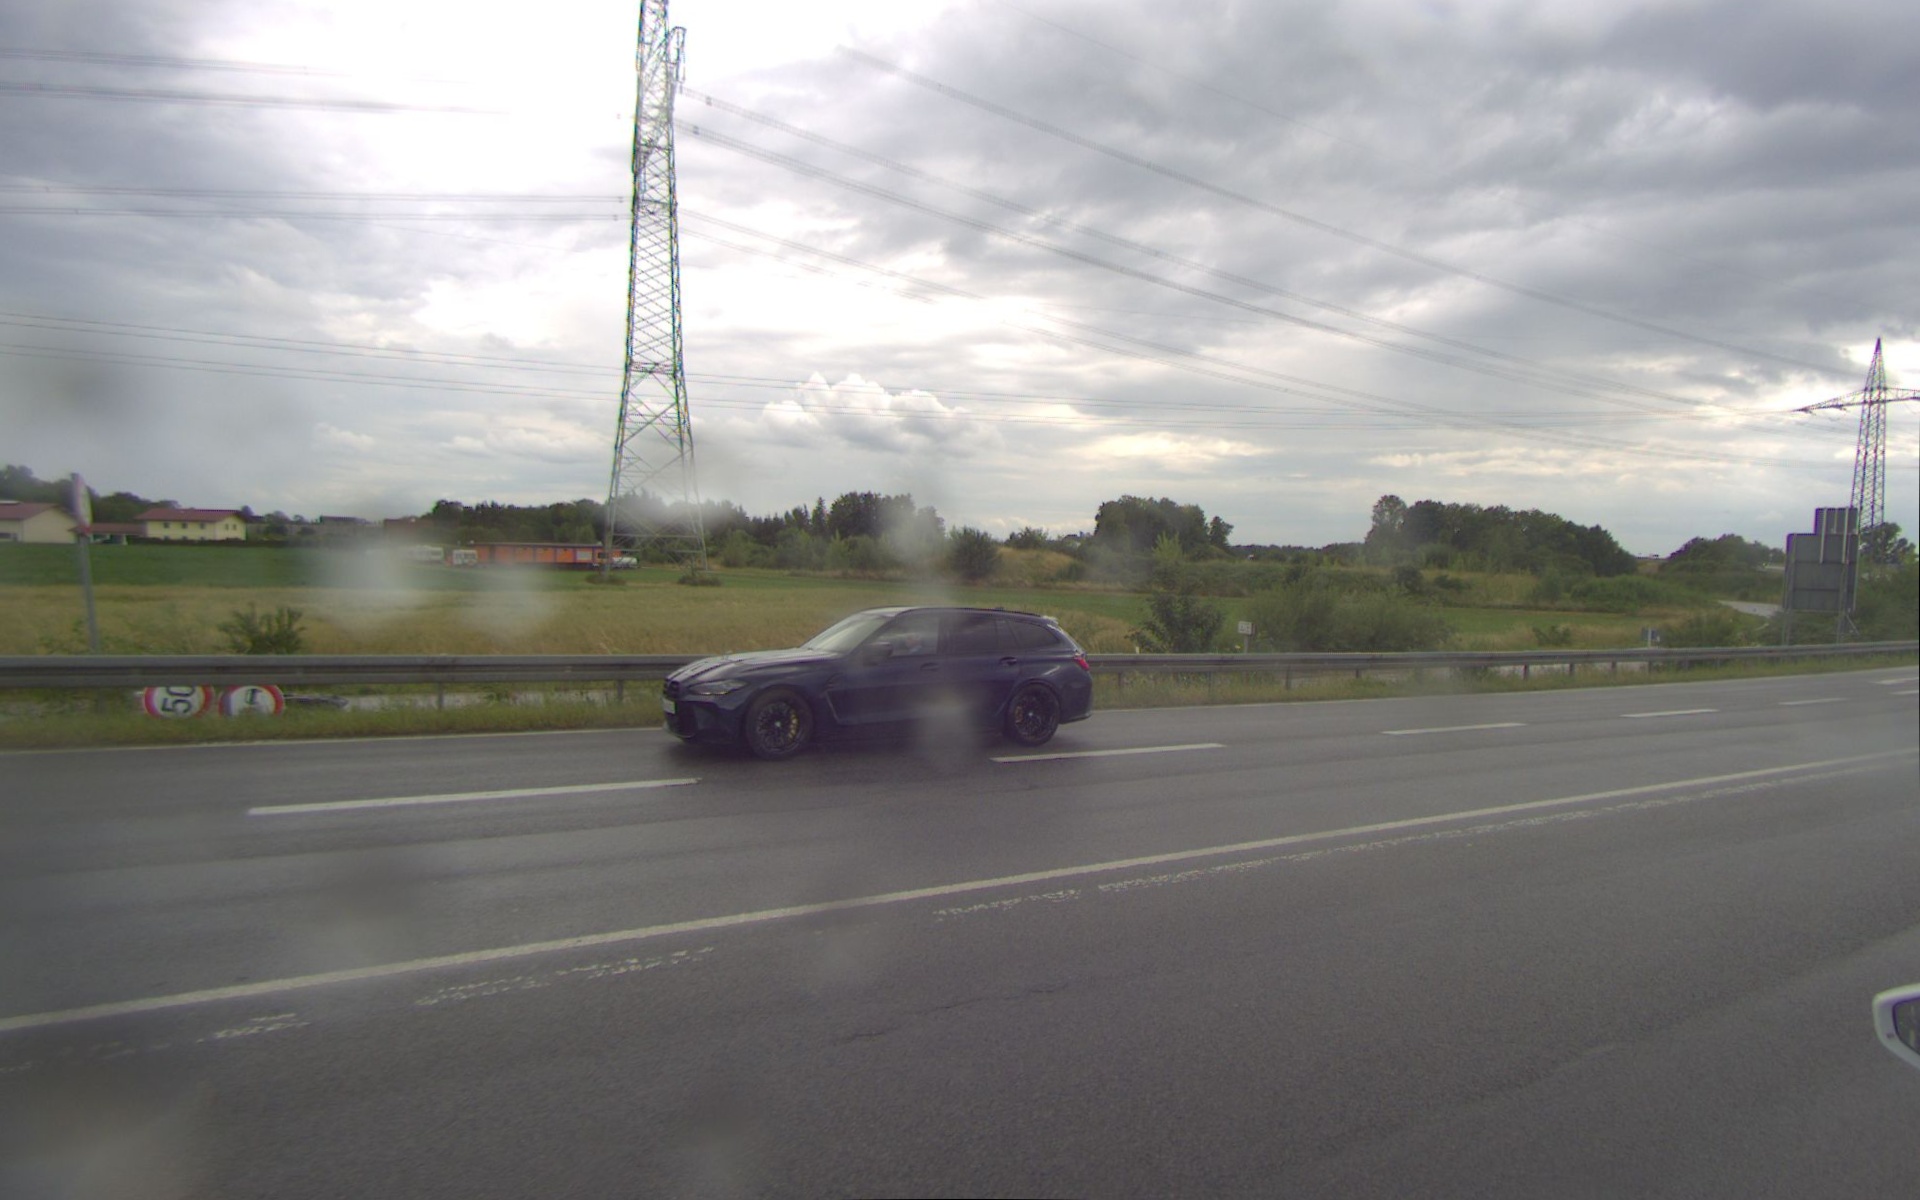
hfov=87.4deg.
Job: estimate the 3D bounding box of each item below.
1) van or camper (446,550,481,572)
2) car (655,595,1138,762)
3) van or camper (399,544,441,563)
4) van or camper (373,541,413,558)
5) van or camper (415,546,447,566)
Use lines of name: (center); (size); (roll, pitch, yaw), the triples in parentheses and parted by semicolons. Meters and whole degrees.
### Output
van or camper: (-70.094, -5.474, 141.638); (5.630, 2.668, 2.318); (6, 4, 40)
car: (-0.603, 0.750, 10.784); (4.839, 1.460, 1.888); (2, -1, -28)
van or camper: (-87.580, -7.510, 162.988); (5.677, 2.667, 2.299); (0, 4, -43)
van or camper: (-99.645, -8.910, 176.618); (5.677, 2.667, 2.299); (0, 4, -43)
van or camper: (-80.235, -6.654, 152.240); (5.630, 2.668, 2.318); (6, 4, 40)
